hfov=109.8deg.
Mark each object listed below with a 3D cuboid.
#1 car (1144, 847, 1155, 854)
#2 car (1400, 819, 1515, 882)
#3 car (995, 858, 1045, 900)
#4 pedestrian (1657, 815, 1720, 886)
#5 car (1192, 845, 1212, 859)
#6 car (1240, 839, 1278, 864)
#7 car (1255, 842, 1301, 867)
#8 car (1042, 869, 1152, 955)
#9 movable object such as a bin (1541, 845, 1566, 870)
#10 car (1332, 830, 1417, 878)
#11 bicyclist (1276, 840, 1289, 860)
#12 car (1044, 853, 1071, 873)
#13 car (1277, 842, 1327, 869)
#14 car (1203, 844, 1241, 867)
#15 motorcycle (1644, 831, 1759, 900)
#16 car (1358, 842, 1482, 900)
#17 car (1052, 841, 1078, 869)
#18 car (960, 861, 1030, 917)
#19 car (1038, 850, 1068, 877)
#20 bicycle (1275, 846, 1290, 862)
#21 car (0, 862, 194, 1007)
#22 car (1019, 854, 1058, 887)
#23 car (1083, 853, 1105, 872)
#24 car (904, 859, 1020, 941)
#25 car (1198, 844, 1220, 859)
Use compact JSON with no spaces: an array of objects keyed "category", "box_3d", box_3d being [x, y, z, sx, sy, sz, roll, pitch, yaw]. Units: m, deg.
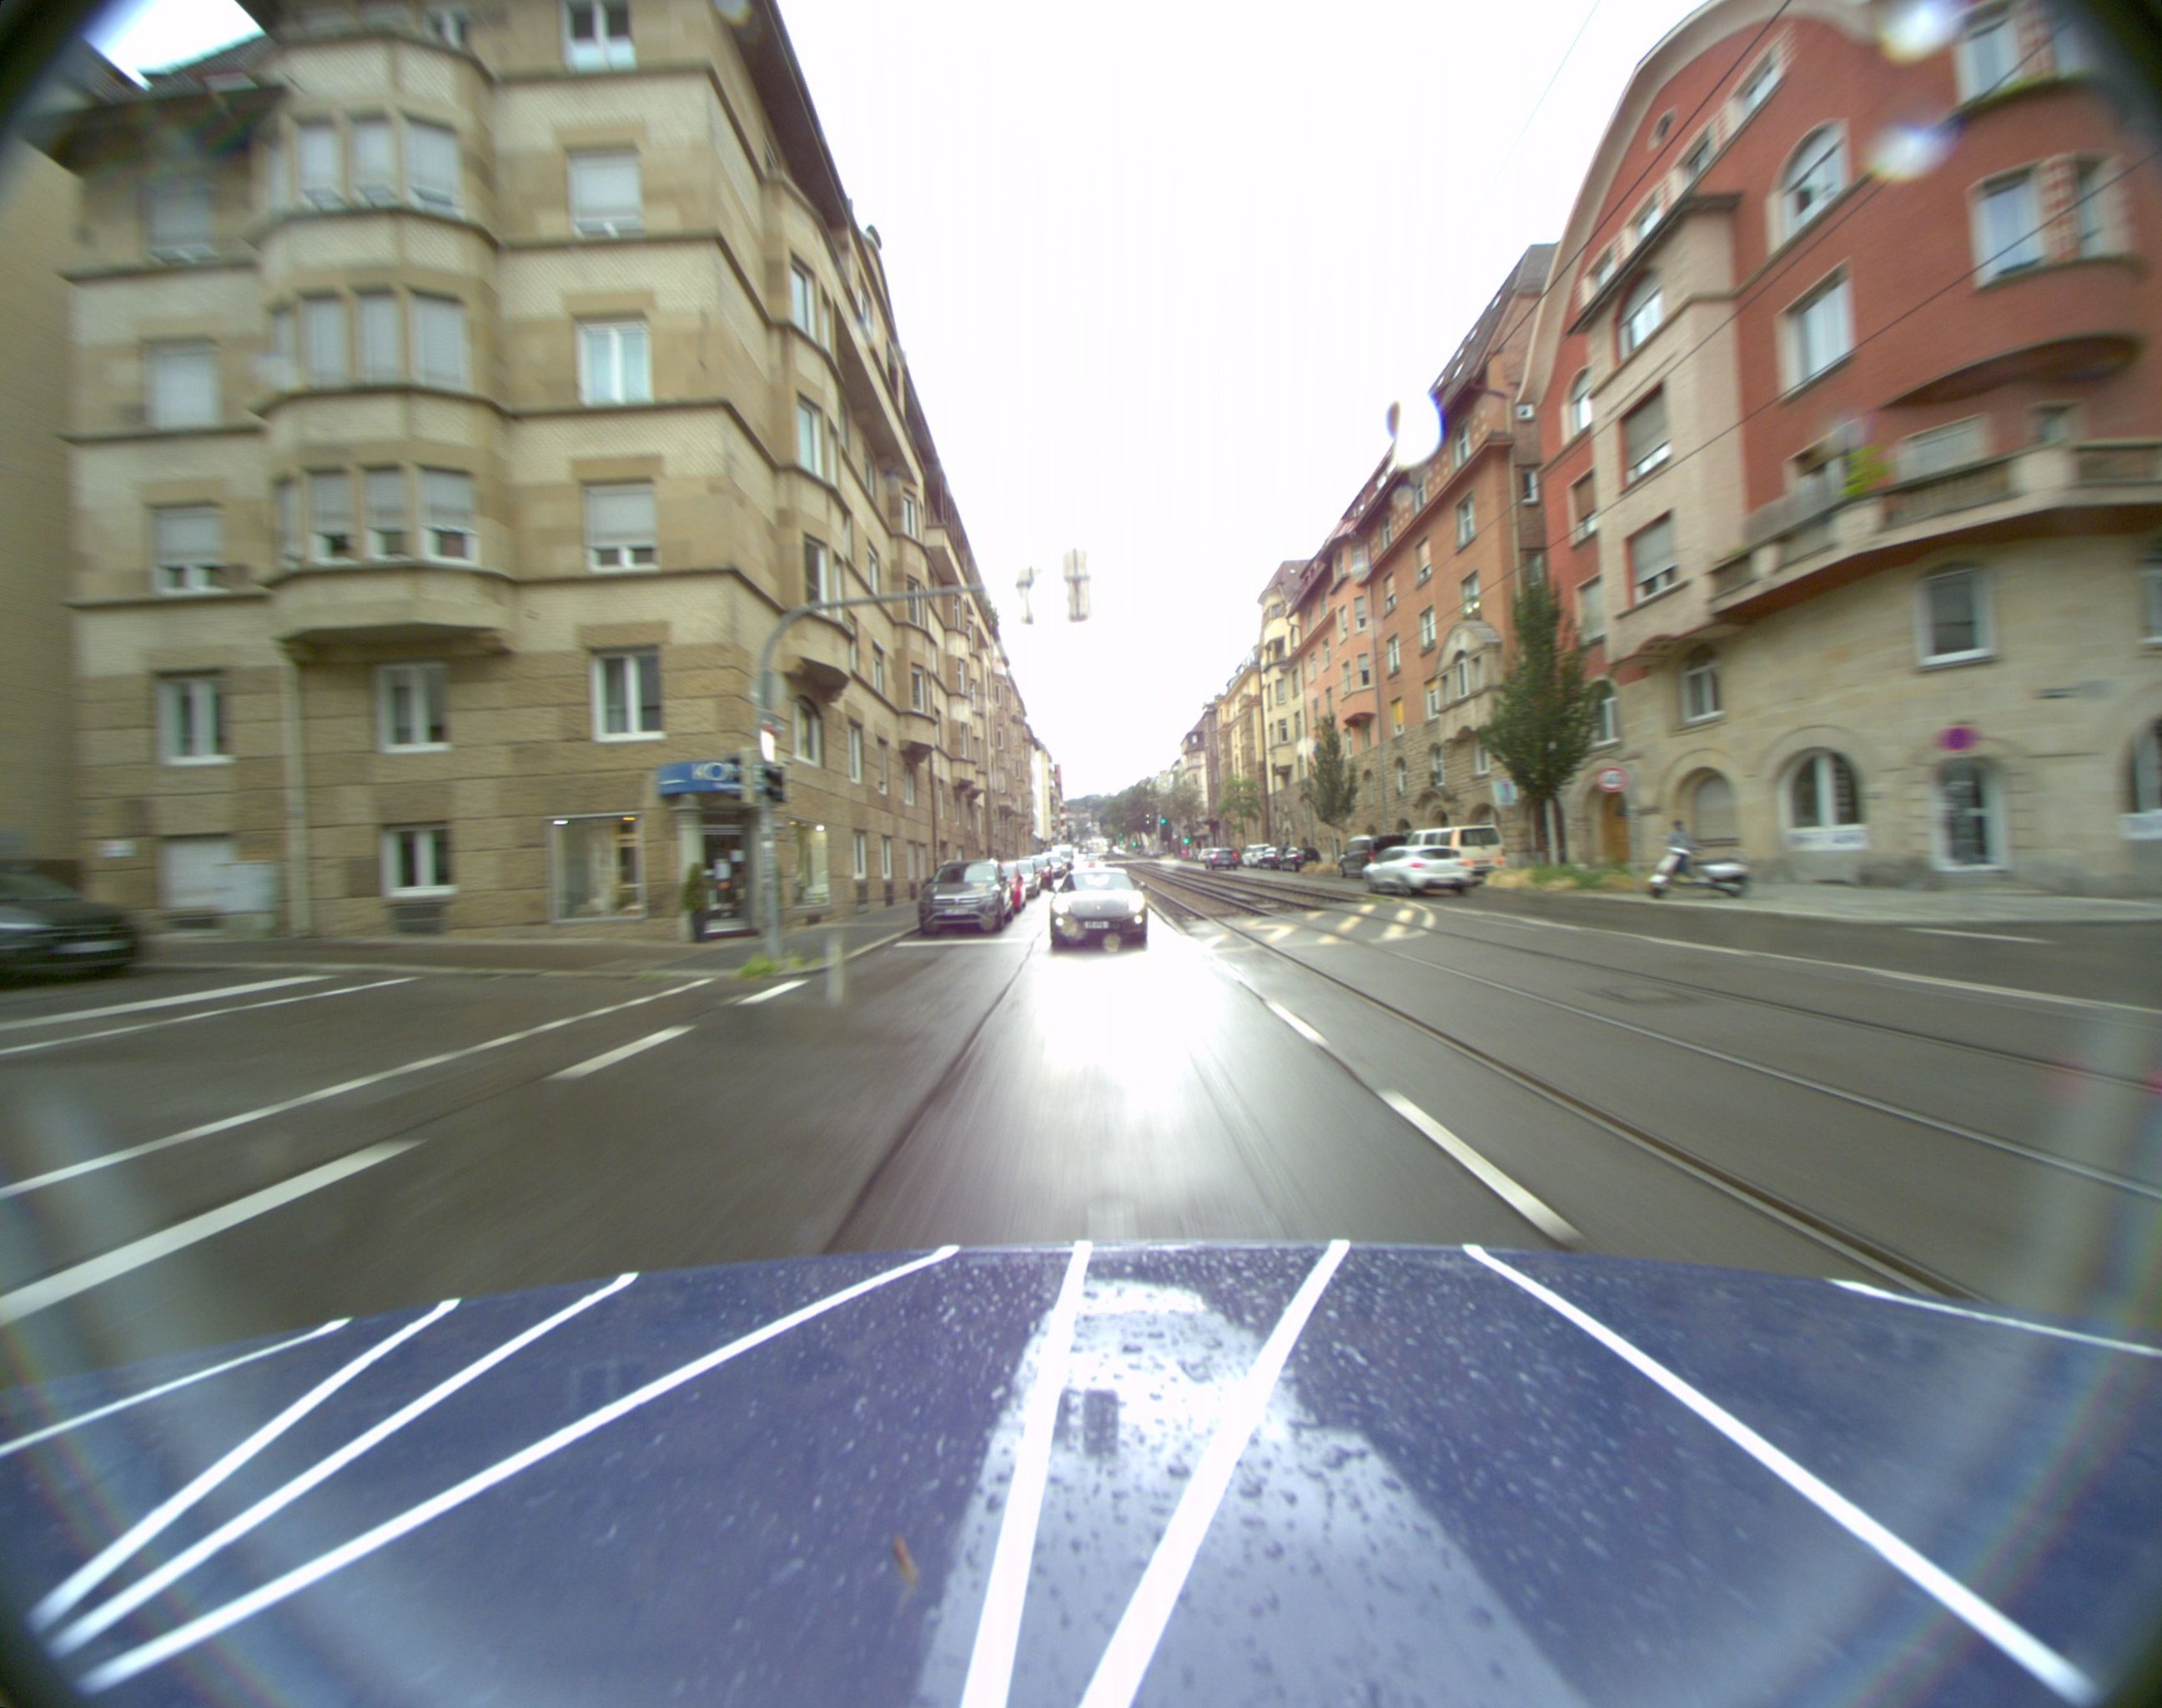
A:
[{"category":"car","box_3d":[13.691,-0.646,151.208,1.794,1.339,4.257,-2,1,1]},{"category":"car","box_3d":[12.916,-0.139,26.429,1.732,1.919,4.475,-2,1,0]},{"category":"car","box_3d":[-2.404,0.960,30.502,1.598,1.478,3.522,-2,0,2]},{"category":"pedestrian","box_3d":[15.619,-0.086,19.551,0.718,1.710,0.892,-8,1,1]},{"category":"car","box_3d":[13.634,-0.208,85.940,1.759,1.419,3.712,-5,1,3]},{"category":"car","box_3d":[13.198,-0.205,56.579,1.759,1.663,4.259,-5,1,1]},{"category":"car","box_3d":[13.126,0.022,50.845,1.760,1.482,4.597,-4,1,-1]},{"category":"car","box_3d":[0.302,0.959,14.132,1.737,1.262,4.258,0,0,1]},{"category":"movable object such as a bin","box_3d":[17.841,0.126,28.702,0.547,0.893,0.656,-2,1,4]},{"category":"car","box_3d":[12.924,-0.021,33.760,1.910,1.919,4.832,-2,1,1]},{"category":"bicyclist","box_3d":[16.531,-0.346,62.361,0.894,1.592,0.774,-2,1,1]},{"category":"car","box_3d":[-1.938,0.758,63.904,1.935,1.516,4.058,-3,0,1]},{"category":"car","box_3d":[13.316,0.068,46.010,1.760,1.396,3.694,-4,1,-2]},{"category":"car","box_3d":[10.396,0.089,56.261,1.926,1.608,4.128,-2,1,0]},{"category":"motorcycle","box_3d":[12.962,0.244,15.949,1.779,1.367,0.769,-1,1,33]},{"category":"car","box_3d":[9.879,0.422,22.510,1.785,1.494,4.061,-2,1,0]},{"category":"car","box_3d":[-1.533,0.075,75.630,1.991,2.520,6.155,-3,0,3]},{"category":"car","box_3d":[-2.533,1.005,23.128,1.710,1.444,3.532,-3,0,-1]},{"category":"car","box_3d":[-1.984,0.657,54.654,1.811,1.758,3.962,-2,0,1]},{"category":"bicycle","box_3d":[16.515,-0.012,62.407,0.694,1.215,2.053,-2,1,1]},{"category":"car","box_3d":[-14.791,0.924,9.783,4.521,1.642,1.875,1,-1,0]},{"category":"car","box_3d":[-2.185,0.832,39.802,1.774,1.592,3.999,-1,0,0]},{"category":"car","box_3d":[1.104,0.687,65.180,1.793,1.459,4.257,-2,1,1]},{"category":"car","box_3d":[-2.602,0.950,17.575,1.872,1.540,3.991,-3,0,1]},{"category":"car","box_3d":[13.657,-0.309,81.297,1.759,1.443,4.043,-5,1,3]}]
